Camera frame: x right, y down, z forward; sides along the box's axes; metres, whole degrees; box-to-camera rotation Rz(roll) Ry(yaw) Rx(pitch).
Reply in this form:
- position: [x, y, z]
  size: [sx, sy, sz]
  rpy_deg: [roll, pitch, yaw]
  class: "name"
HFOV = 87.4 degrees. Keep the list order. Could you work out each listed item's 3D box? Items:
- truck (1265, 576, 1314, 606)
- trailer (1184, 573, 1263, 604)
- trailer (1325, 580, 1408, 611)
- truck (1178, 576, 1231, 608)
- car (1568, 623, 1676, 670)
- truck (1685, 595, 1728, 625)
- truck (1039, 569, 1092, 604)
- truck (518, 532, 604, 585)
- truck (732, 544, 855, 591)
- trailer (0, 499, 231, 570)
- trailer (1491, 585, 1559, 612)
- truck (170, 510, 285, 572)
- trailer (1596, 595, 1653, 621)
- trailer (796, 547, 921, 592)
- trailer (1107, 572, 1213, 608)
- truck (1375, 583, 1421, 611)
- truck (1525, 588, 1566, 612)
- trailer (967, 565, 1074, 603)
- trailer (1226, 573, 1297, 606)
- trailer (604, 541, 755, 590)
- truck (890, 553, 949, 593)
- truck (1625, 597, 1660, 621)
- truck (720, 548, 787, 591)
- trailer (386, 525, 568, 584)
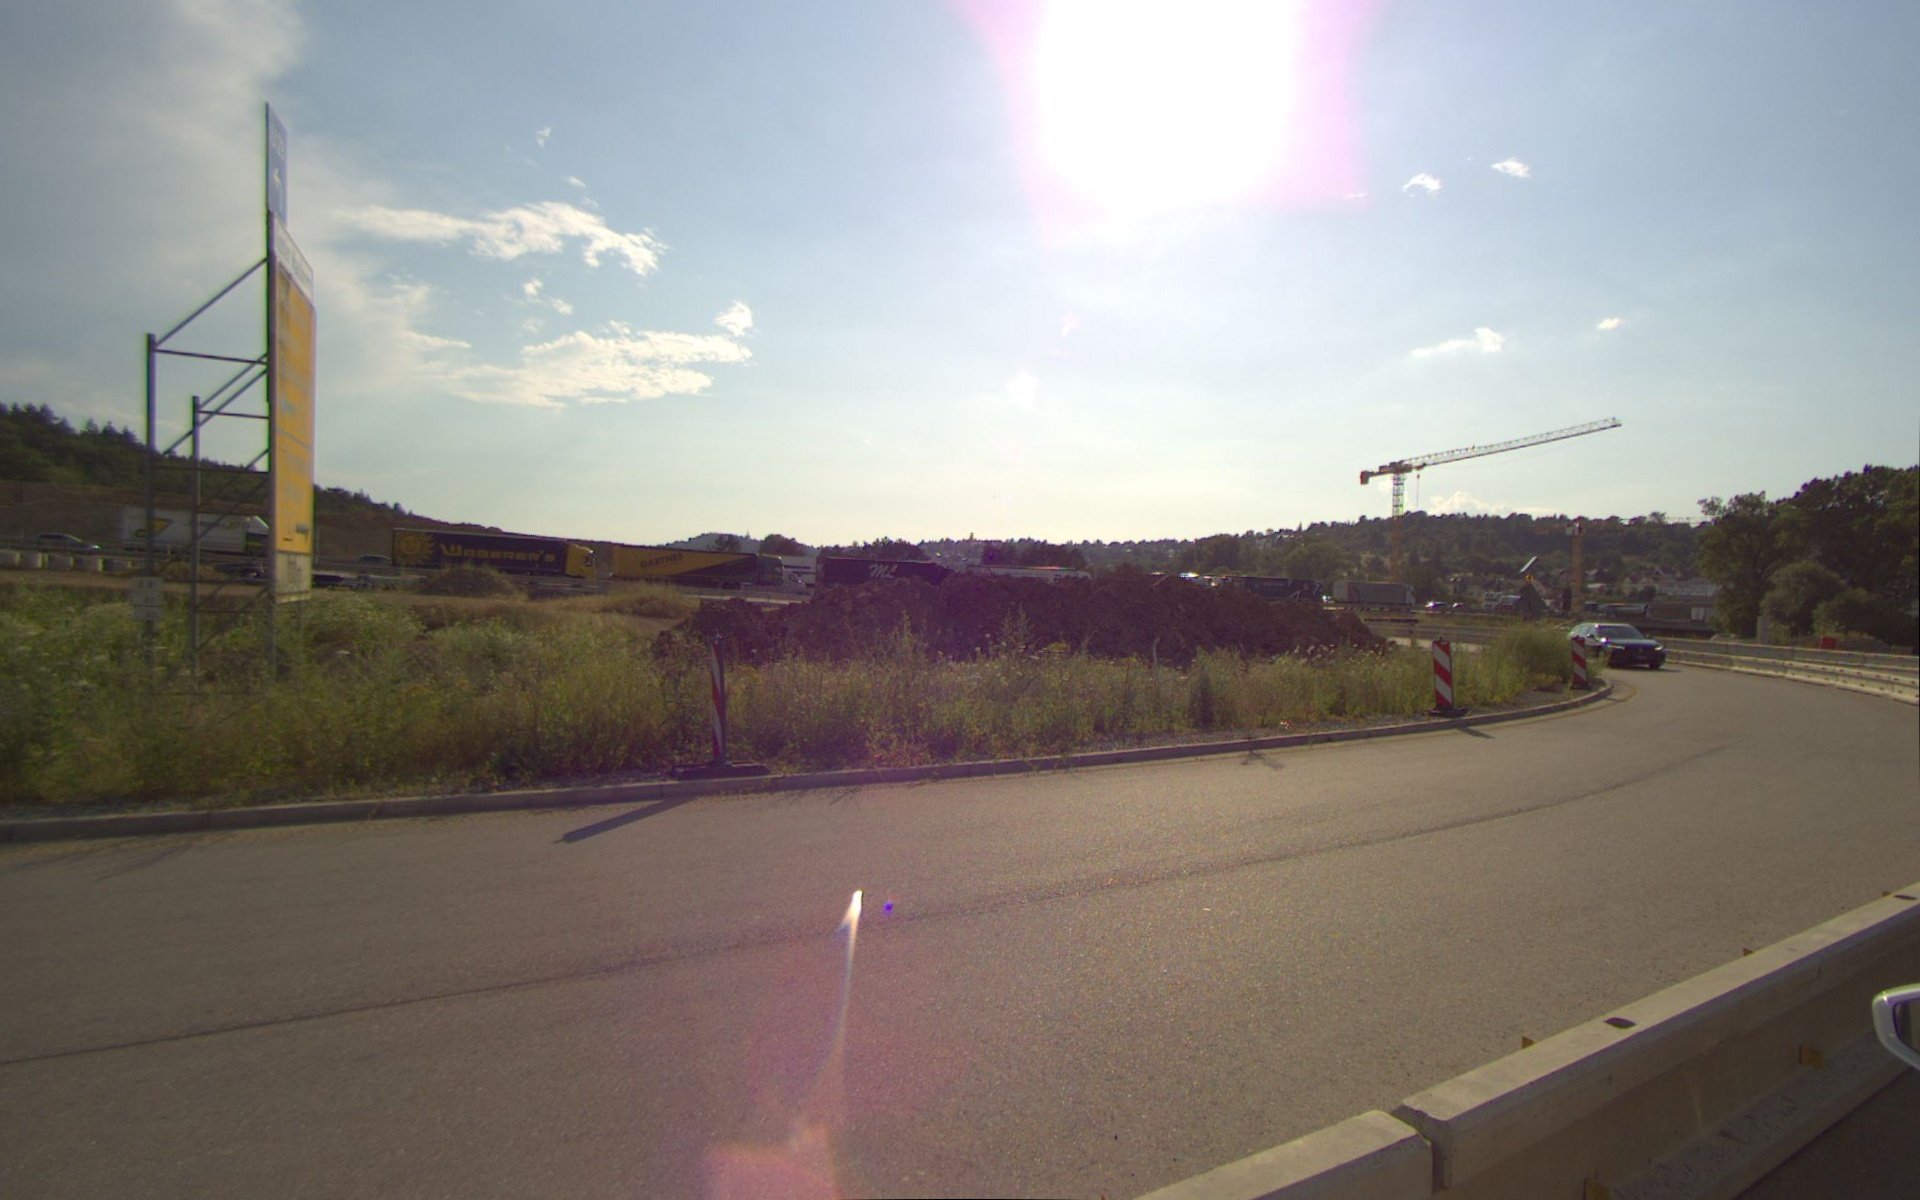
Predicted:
- position: [46.620, -1.275, 142.014]
  size: [6.547, 4.050, 2.871]
  rpy_deg: [2, 1, -30]
  class: "truck"
- position: [39.353, -1.720, 149.432]
  size: [13.324, 4.050, 2.842]
  rpy_deg: [2, 1, -32]
  class: "trailer"
- position: [61.272, -0.608, 151.146]
  size: [14.579, 4.050, 3.367]
  rpy_deg: [2, 1, -32]
  class: "trailer"
- position: [32.507, -1.076, 133.466]
  size: [6.550, 4.050, 2.833]
  rpy_deg: [2, 1, -32]
  class: "truck"
- position: [23.189, 1.589, 35.384]
  size: [1.681, 1.539, 4.518]
  rpy_deg: [1, -1, 13]
  class: "car"
- position: [153.628, 2.058, 206.694]
  size: [10.551, 5.949, 3.149]
  rpy_deg: [2, 0, -30]
  class: "truck"
- position: [12.701, -1.616, 121.215]
  size: [5.944, 3.930, 2.467]
  rpy_deg: [2, 1, -32]
  class: "truck"
- position: [-36.224, -3.693, 91.236]
  size: [6.816, 4.371, 3.088]
  rpy_deg: [2, 0, -31]
  class: "truck"
- position: [-18.288, -3.466, 111.185]
  size: [13.038, 4.470, 3.539]
  rpy_deg: [2, 0, -34]
  class: "truck"
- position: [-63.227, -4.754, 74.817]
  size: [14.087, 4.371, 3.088]
  rpy_deg: [2, 0, -31]
  class: "trailer"
- position: [97.424, -0.180, 173.099]
  size: [14.579, 4.050, 3.367]
  rpy_deg: [2, 1, -32]
  class: "trailer"
- position: [-57.074, -4.528, 78.500]
  size: [6.816, 4.371, 3.088]
  rpy_deg: [2, 0, -31]
  class: "truck"
- position: [125.723, 1.507, 189.915]
  size: [14.091, 4.372, 3.087]
  rpy_deg: [2, 1, -32]
  class: "trailer"
- position: [-10.595, -3.187, 106.595]
  size: [13.484, 4.116, 2.466]
  rpy_deg: [2, 1, -33]
  class: "trailer"
- position: [25.882, -1.255, 129.375]
  size: [15.569, 4.050, 2.842]
  rpy_deg: [2, 1, -32]
  class: "trailer"
- position: [67.691, -0.403, 155.170]
  size: [6.550, 4.050, 3.325]
  rpy_deg: [2, 1, -31]
  class: "truck"
- position: [102.829, -0.015, 176.436]
  size: [6.550, 4.050, 3.372]
  rpy_deg: [2, 1, -31]
  class: "truck"
- position: [7.265, -1.855, 117.842]
  size: [13.479, 3.930, 2.467]
  rpy_deg: [2, 1, -32]
  class: "trailer"
- position: [41.853, -1.392, 139.169]
  size: [10.667, 4.146, 2.944]
  rpy_deg: [2, 0, -30]
  class: "trailer"
- position: [-26.837, -3.235, 96.741]
  size: [13.816, 4.011, 2.467]
  rpy_deg: [2, 1, -31]
  class: "trailer"
- position: [-4.478, -2.997, 110.544]
  size: [5.944, 4.114, 2.467]
  rpy_deg: [2, 1, -32]
  class: "truck"
- position: [131.525, 1.710, 193.493]
  size: [6.550, 4.343, 3.081]
  rpy_deg: [2, 1, -31]
  class: "truck"
- position: [-20.637, -3.018, 100.465]
  size: [5.943, 3.954, 2.467]
  rpy_deg: [2, 1, -31]
  class: "truck"
- position: [-41.971, -3.847, 87.736]
  size: [14.087, 4.371, 3.088]
  rpy_deg: [2, 0, -31]
  class: "trailer"
